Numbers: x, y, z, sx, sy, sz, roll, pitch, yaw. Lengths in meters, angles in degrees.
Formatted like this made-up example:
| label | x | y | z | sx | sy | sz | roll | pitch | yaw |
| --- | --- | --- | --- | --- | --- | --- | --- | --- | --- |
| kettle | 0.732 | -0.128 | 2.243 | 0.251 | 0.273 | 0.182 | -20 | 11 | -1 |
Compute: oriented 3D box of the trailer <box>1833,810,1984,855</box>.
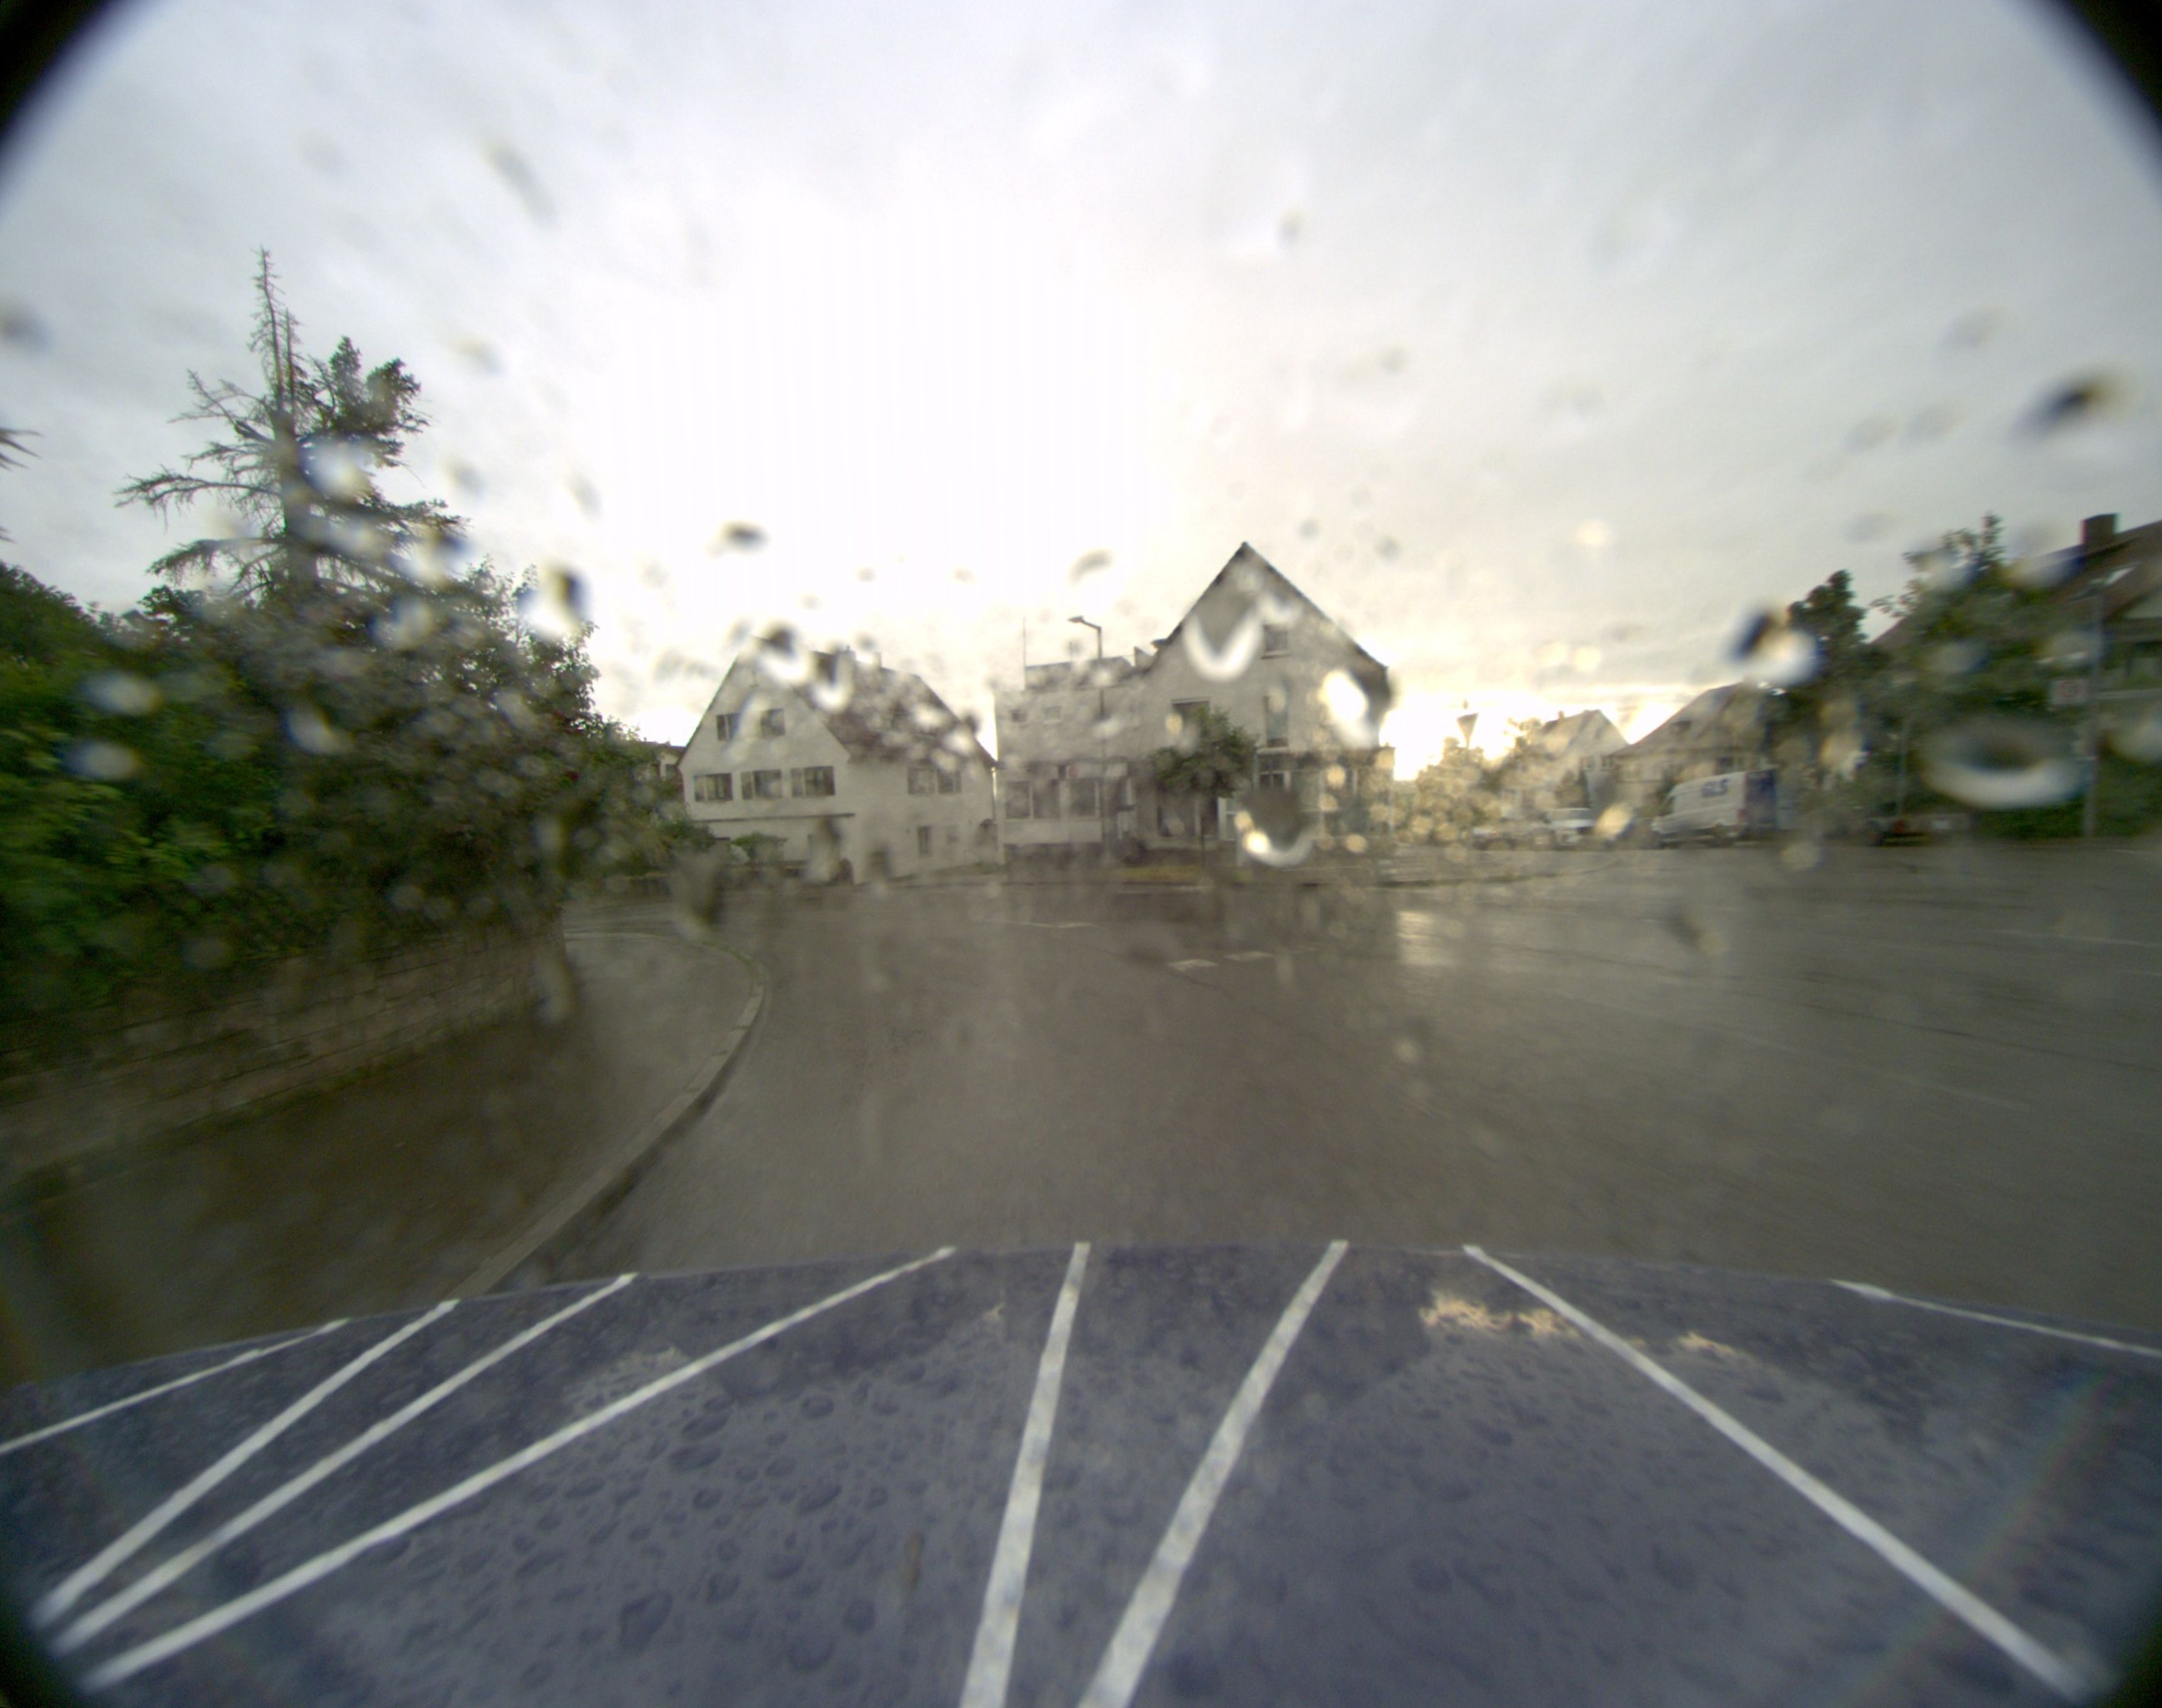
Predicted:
| label | x | y | z | sx | sy | sz | roll | pitch | yaw |
| --- | --- | --- | --- | --- | --- | --- | --- | --- | --- |
| trailer | 21.781 | -0.579 | 20.148 | 1.590 | 1.001 | 2.826 | -3 | 1 | 21 |

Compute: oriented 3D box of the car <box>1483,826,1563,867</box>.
| label | x | y | z | sx | sy | sz | roll | pitch | yaw |
| --- | --- | --- | --- | --- | --- | --- | --- | --- | --- |
| car | 18.897 | -0.385 | 32.680 | 2.063 | 1.501 | 4.486 | -3 | 2 | 18 |

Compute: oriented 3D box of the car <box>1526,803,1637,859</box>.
| label | x | y | z | sx | sy | sz | roll | pitch | yaw |
| --- | --- | --- | --- | --- | --- | --- | --- | --- | --- |
| car | 17.450 | -0.837 | 26.783 | 2.063 | 1.696 | 4.798 | -2 | 2 | 18 |

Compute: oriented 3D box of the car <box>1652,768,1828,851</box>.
| label | x | y | z | sx | sy | sz | roll | pitch | yaw |
| --- | --- | --- | --- | --- | --- | --- | --- | --- | --- |
| car | 23.297 | -1.544 | 27.303 | 2.187 | 2.509 | 6.258 | -3 | 2 | 15 |

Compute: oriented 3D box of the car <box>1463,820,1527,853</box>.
| label | x | y | z | sx | sy | sz | roll | pitch | yaw |
| --- | --- | --- | --- | --- | --- | --- | --- | --- | --- |
| car | 20.960 | -0.931 | 38.686 | 2.063 | 1.501 | 4.486 | -3 | 2 | 18 |

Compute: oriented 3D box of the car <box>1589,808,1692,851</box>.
| label | x | y | z | sx | sy | sz | roll | pitch | yaw |
| --- | --- | --- | --- | --- | --- | --- | --- | --- | --- |
| car | 25.017 | -1.125 | 34.197 | 2.064 | 1.696 | 4.797 | -3 | 2 | 14 |
